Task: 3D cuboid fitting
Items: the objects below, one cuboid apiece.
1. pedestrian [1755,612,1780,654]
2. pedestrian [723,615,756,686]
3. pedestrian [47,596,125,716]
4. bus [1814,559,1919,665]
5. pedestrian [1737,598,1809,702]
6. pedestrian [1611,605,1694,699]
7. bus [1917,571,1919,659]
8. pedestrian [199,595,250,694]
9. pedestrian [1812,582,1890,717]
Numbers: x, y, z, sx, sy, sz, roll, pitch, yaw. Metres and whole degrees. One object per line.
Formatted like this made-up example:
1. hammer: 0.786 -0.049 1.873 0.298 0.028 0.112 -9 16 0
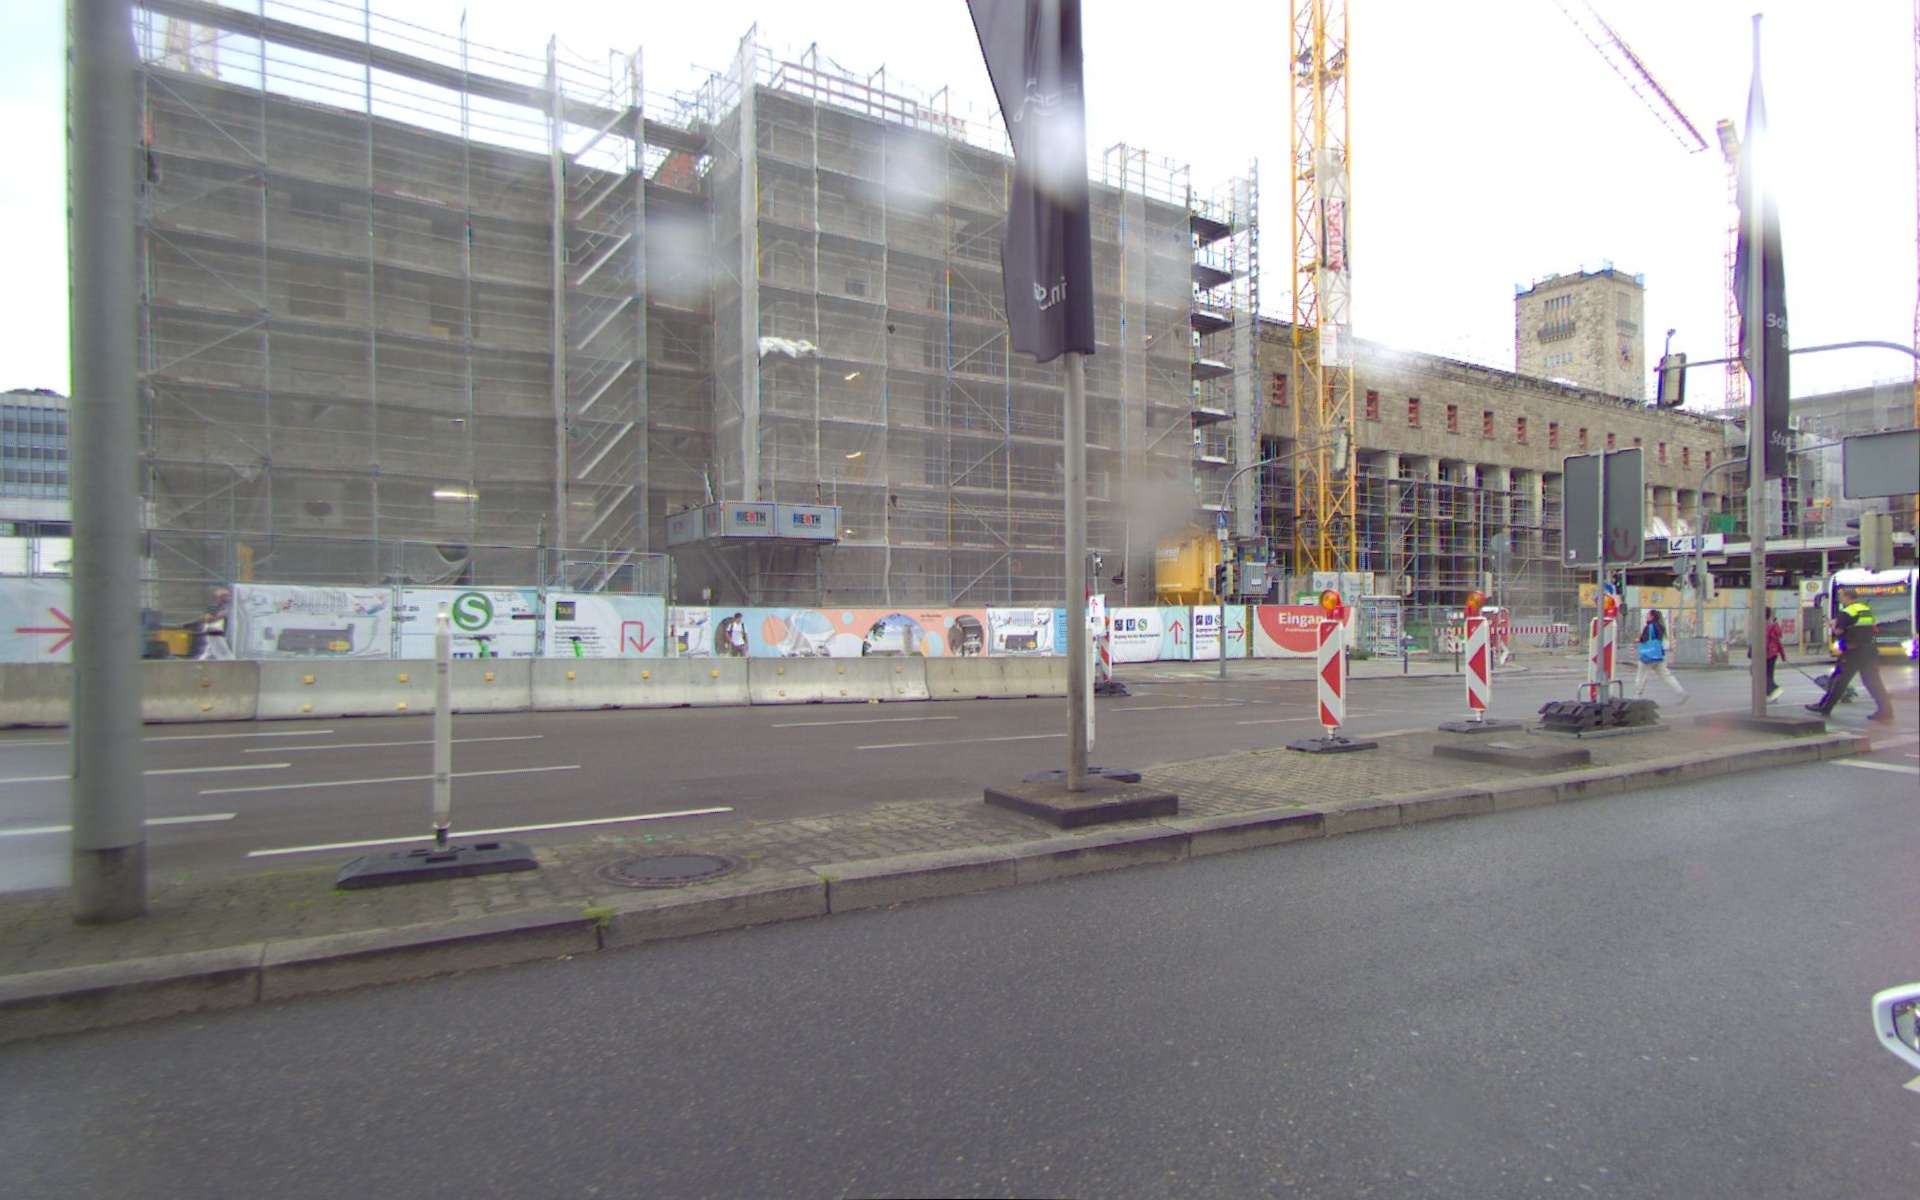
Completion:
1. pedestrian: 37.119 1.514 46.183 0.789 1.879 0.658 1 -1 -30
2. pedestrian: -5.915 1.350 26.945 0.709 1.860 0.478 1 0 -30
3. pedestrian: -13.909 0.874 16.006 0.810 1.860 0.576 1 0 -30
4. bus: 36.258 0.518 38.115 10.119 3.650 2.655 1 0 -30
5. pedestrian: 13.967 0.848 17.263 0.613 1.740 0.794 1 -2 -33
6. pedestrian: 12.108 0.891 17.574 0.890 1.584 0.909 1 0 -33
7. bus: 44.918 0.750 43.242 10.091 3.650 2.655 1 0 -30
8. pedestrian: -14.066 0.845 19.226 0.709 1.860 0.478 1 0 -30
9. pedestrian: 12.669 0.684 14.283 0.810 1.860 0.576 1 0 -30
